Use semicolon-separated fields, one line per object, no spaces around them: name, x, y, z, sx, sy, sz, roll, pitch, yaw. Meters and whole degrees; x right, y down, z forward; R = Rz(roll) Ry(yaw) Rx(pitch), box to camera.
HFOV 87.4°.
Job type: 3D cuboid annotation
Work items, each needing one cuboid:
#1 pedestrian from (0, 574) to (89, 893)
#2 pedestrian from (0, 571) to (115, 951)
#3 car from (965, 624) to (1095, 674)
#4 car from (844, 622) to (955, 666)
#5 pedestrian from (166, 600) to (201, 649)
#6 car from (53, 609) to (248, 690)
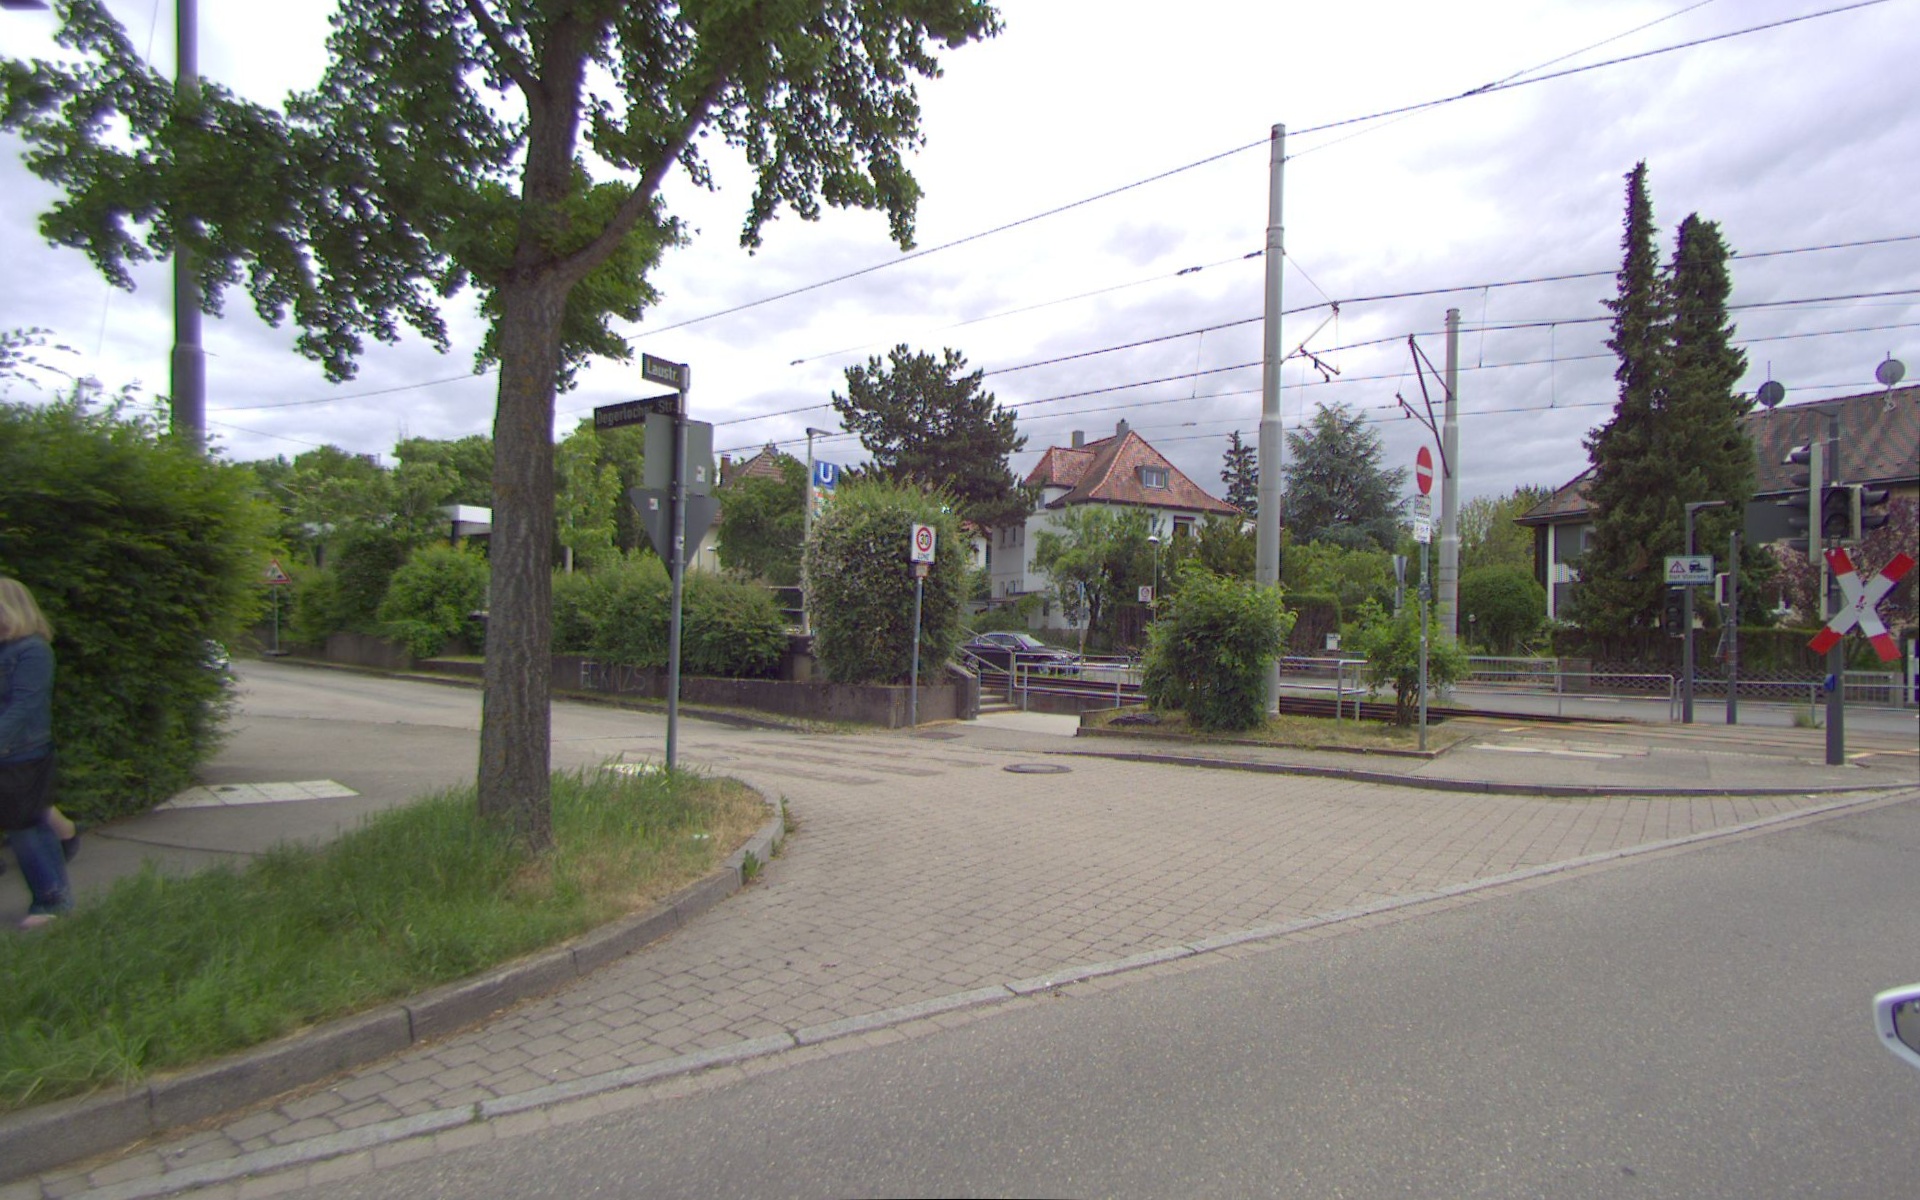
pedestrian;-5.276;0.685;5.382;0.664;1.641;0.598;2;1;1
pedestrian;-4.469;0.690;4.596;0.664;1.641;0.598;2;1;1
car;2.370;1.649;34.283;4.051;1.521;1.817;0;-1;35
car;-2.293;1.631;37.715;3.937;1.500;1.848;0;-2;38
pedestrian;-24.955;0.790;32.284;0.654;1.550;0.642;2;-2;38
car;-15.157;0.894;18.778;3.709;1.329;1.777;1;-2;34
